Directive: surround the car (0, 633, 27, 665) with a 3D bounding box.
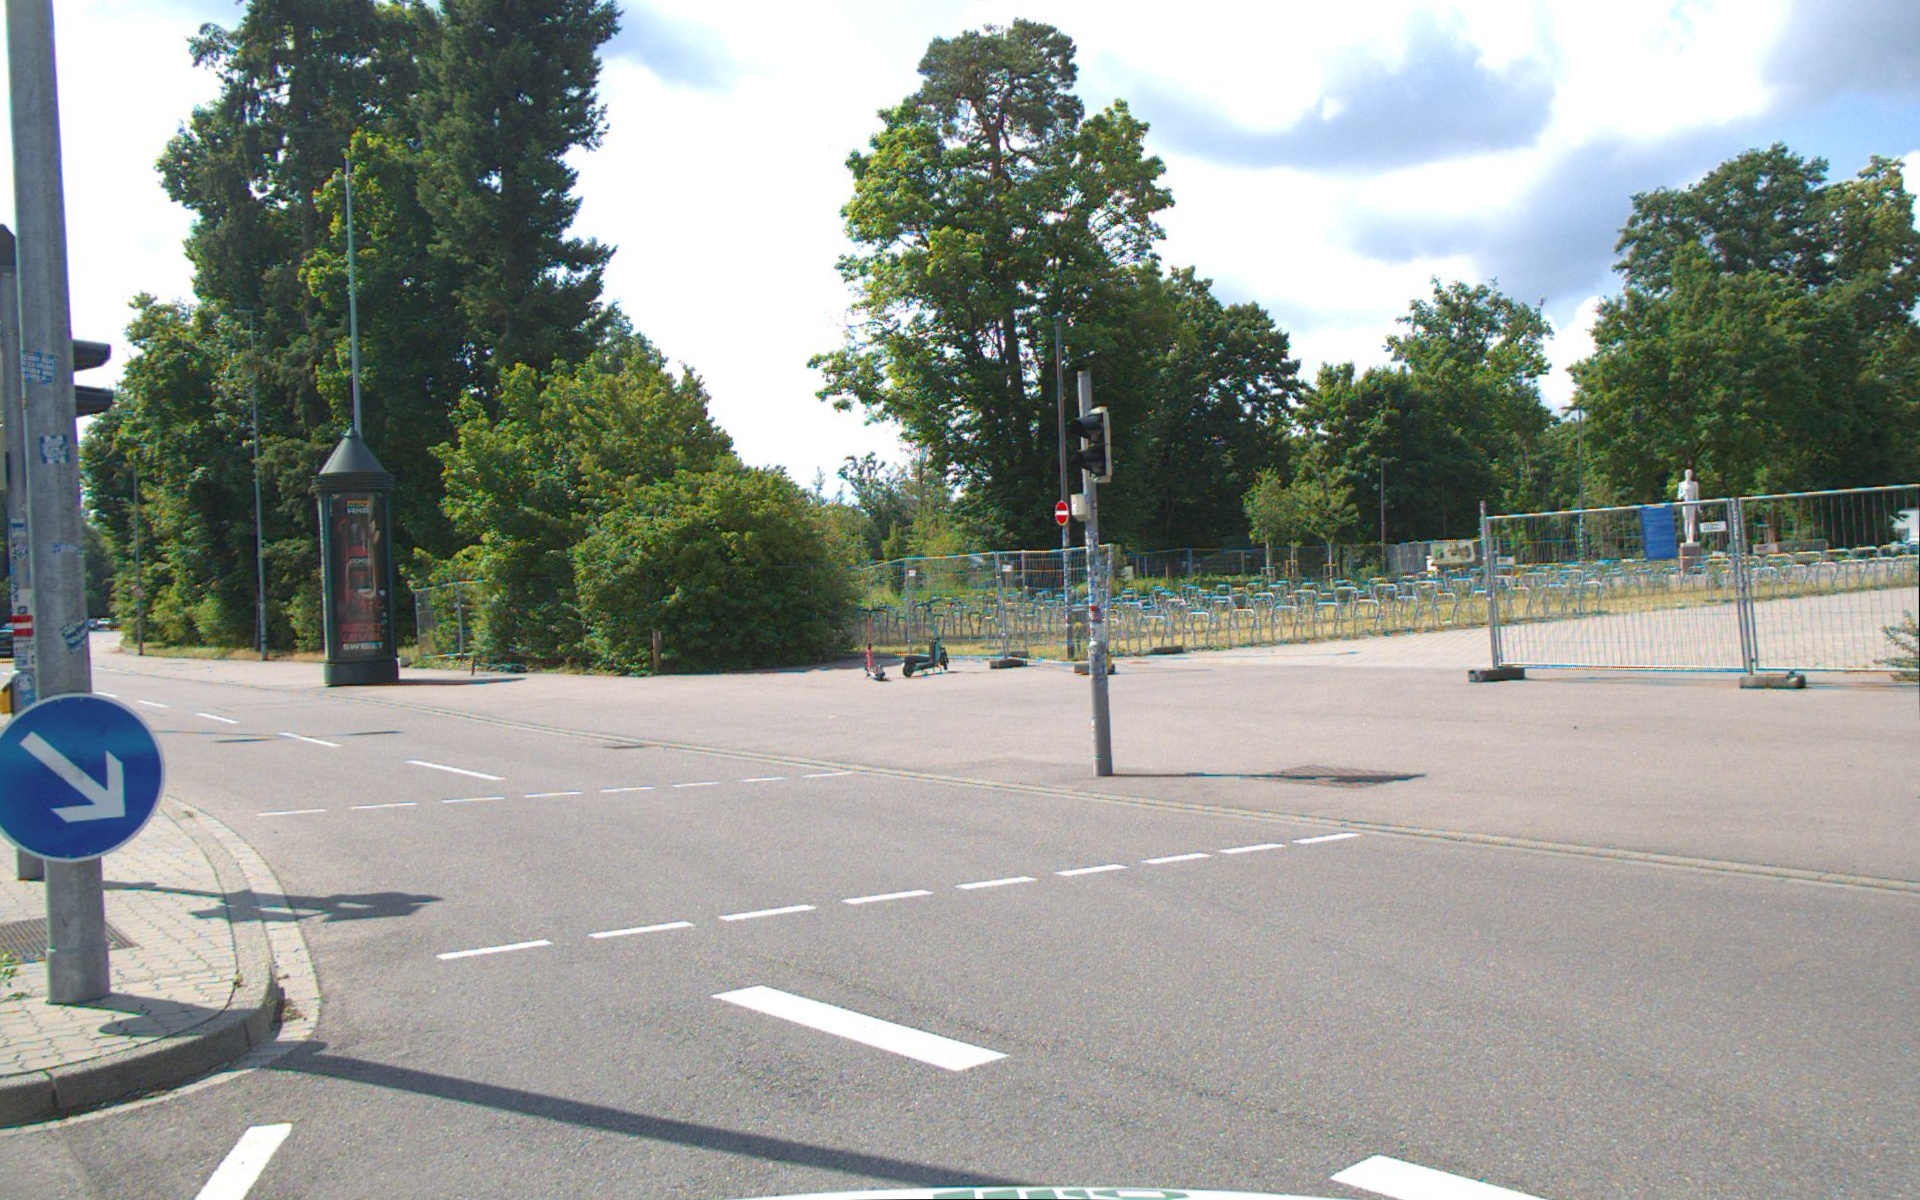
[{"bbox_3d":[-43.666,2.244,75.390,1.585,1.402,3.925,-2,-1,-35],"label":"car"}]

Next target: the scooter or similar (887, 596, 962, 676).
[{"bbox_3d":[-0.598,0.609,28.453,1.301,1.273,0.401,-4,1,-43],"label":"scooter or similar"}]

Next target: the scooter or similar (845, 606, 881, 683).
[{"bbox_3d":[-1.619,0.737,27.824,0.397,1.221,1.312,-3,1,3],"label":"scooter or similar"}]

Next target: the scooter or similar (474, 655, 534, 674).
[{"bbox_3d":[-10.333,1.462,37.464,0.846,0.395,1.454,4,-3,-37],"label":"scooter or similar"}]
